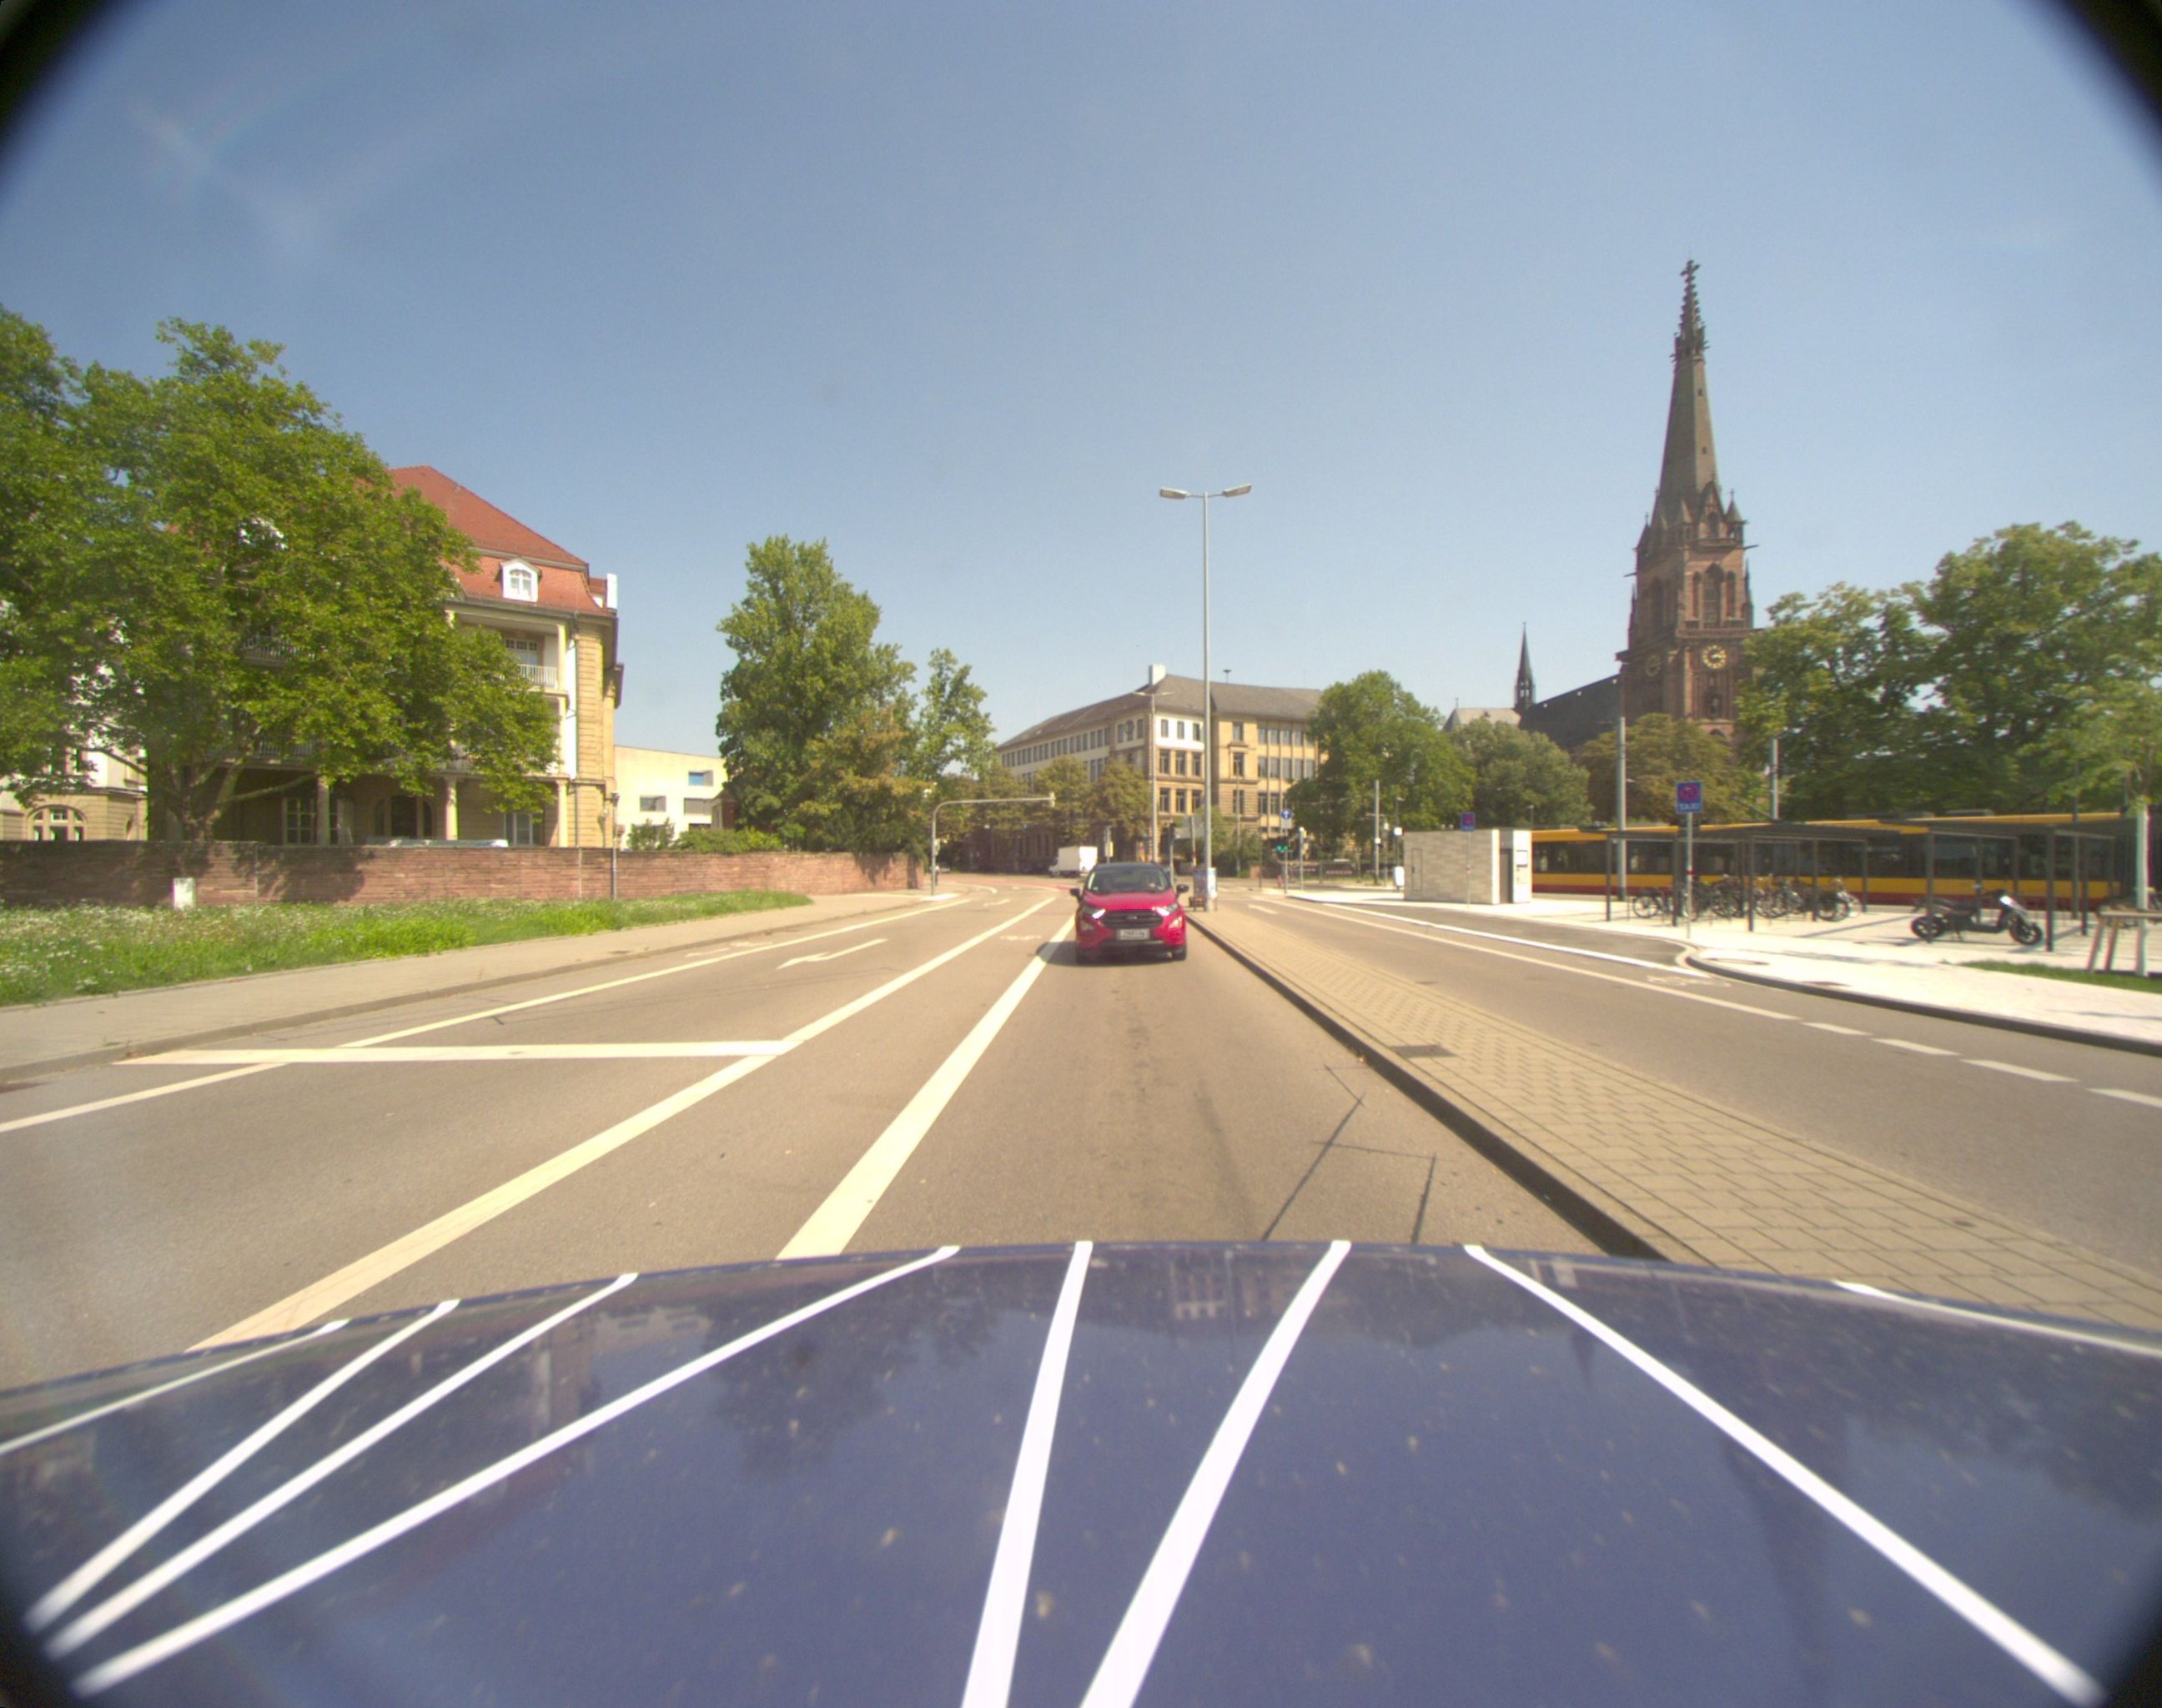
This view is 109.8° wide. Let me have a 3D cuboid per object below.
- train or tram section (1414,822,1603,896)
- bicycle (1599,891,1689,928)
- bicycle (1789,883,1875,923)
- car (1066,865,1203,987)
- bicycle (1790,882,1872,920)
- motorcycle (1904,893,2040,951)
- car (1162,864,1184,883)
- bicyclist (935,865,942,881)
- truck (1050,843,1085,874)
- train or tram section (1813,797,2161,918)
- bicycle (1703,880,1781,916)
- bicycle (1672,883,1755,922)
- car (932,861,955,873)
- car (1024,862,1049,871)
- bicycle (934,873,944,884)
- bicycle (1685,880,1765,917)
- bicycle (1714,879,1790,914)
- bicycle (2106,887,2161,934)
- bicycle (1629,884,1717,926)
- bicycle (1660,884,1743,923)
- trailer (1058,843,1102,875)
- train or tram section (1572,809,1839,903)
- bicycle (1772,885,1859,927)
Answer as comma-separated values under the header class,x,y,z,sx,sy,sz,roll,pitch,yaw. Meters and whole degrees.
class,x,y,z,sx,sy,sz,roll,pitch,yaw
train or tram section,22.436,0.346,40.479,3.144,3.538,8.308,1,-2,-32
bicycle,15.133,1.483,20.476,0.492,0.878,1.894,0,0,-30
bicycle,20.685,1.327,20.954,0.413,1.034,1.637,0,0,-30
car,0.828,1.032,12.523,1.844,1.605,4.001,-2,-1,2
bicycle,21.753,1.339,22.061,0.413,1.034,1.637,0,0,-30
motorcycle,18.392,1.367,15.736,0.492,1.062,1.775,0,0,-30
car,7.706,1.626,63.725,1.584,1.488,3.587,1,0,3
bicyclist,-11.101,1.479,59.382,0.433,1.226,0.540,0,0,0
truck,-1.476,0.483,82.334,2.434,3.268,3.419,0,0,-30
train or tram section,31.484,0.184,26.189,3.167,3.575,8.506,1,-1,-32
bicycle,20.640,1.353,23.747,0.528,1.034,1.766,0,0,-30
bicycle,18.237,1.384,21.948,0.528,1.034,1.766,0,0,-30
car,-19.310,1.838,106.714,1.891,1.586,3.990,0,-1,-32
car,-5.927,1.641,101.214,3.064,1.169,1.248,0,0,-37
bicycle,-11.103,1.883,59.412,0.437,0.807,1.486,0,0,1
bicycle,19.501,1.332,23.050,0.528,1.034,1.766,0,0,-30
bicycle,21.570,1.349,24.460,0.528,1.034,1.766,0,0,-30
bicycle,24.626,1.302,17.210,0.413,1.034,1.637,0,0,-30
bicycle,16.319,1.382,20.998,0.528,1.075,1.861,0,0,-30
bicycle,17.620,1.388,21.625,0.528,1.034,1.766,0,0,-30
trailer,-0.127,0.488,79.987,2.446,3.268,5.077,0,0,-30
train or tram section,26.945,0.193,33.371,3.167,3.575,8.506,1,-1,-32
bicycle,19.716,1.370,20.439,0.413,1.034,1.637,0,0,-30
